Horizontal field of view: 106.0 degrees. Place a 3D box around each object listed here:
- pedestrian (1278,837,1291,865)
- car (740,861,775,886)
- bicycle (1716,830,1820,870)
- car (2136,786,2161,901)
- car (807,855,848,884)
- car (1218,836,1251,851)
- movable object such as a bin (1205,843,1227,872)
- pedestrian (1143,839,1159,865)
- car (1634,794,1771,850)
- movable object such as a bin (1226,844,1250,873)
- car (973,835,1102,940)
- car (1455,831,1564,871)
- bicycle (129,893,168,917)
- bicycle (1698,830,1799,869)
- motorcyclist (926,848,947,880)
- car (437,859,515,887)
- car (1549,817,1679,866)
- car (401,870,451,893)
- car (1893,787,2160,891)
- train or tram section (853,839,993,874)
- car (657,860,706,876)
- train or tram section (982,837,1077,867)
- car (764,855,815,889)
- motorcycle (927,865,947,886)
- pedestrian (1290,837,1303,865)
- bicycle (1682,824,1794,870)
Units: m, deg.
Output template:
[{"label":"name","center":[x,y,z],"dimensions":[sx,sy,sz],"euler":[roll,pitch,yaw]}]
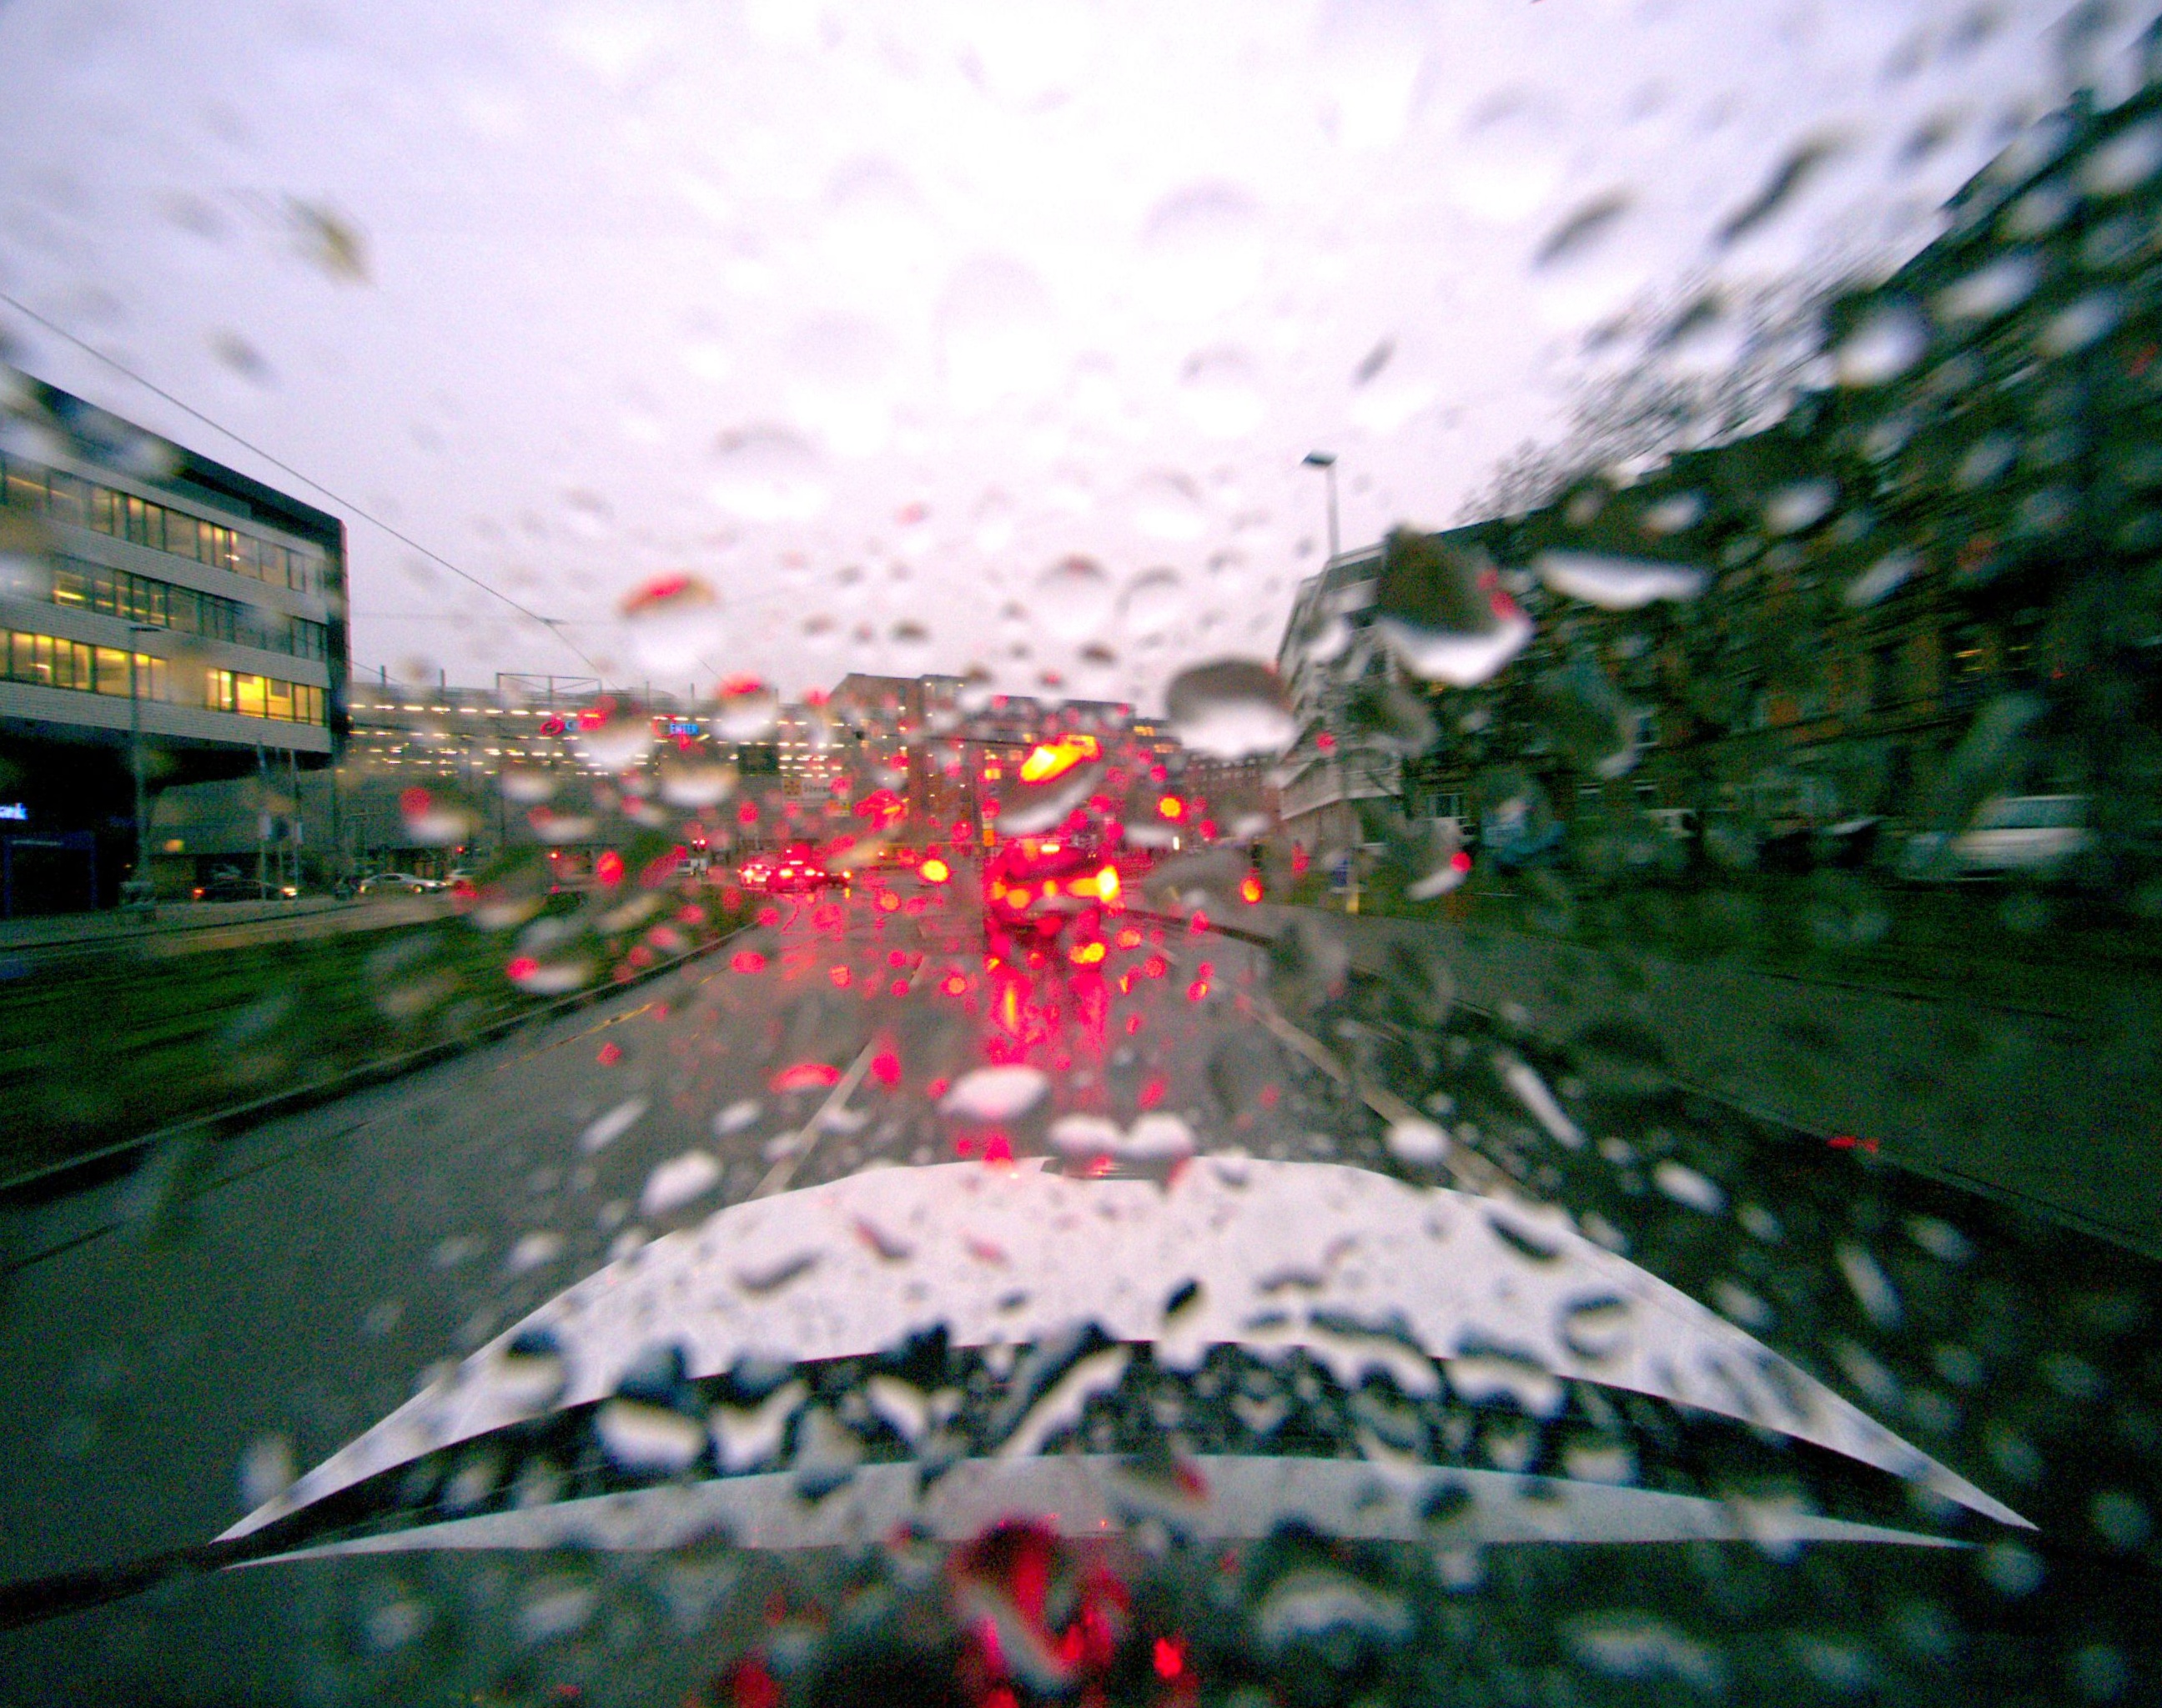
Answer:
[{"label":"pedestrian","center":[12.529,-0.178,50.068],"dimensions":[0.672,1.714,0.606],"euler":[0,-1,4]},{"label":"car","center":[-21.358,1.277,53.642],"dimensions":[1.894,1.486,3.967],"euler":[-2,0,-25]},{"label":"bicycle","center":[17.694,-0.106,21.002],"dimensions":[2.156,0.966,0.626],"euler":[-1,2,1]},{"label":"car","center":[14.554,-0.177,9.811],"dimensions":[3.441,1.351,1.649],"euler":[-2,0,-27]},{"label":"car","center":[-15.604,0.972,49.996],"dimensions":[1.646,1.697,3.635],"euler":[-1,-1,-30]},{"label":"car","center":[22.276,-1.482,118.346],"dimensions":[4.974,2.014,1.977],"euler":[0,-1,-40]},{"label":"movable object such as a bin","center":[7.047,0.168,42.391],"dimensions":[1.007,1.416,1.228],"euler":[-4,0,12]},{"label":"pedestrian","center":[5.300,-0.153,61.754],"dimensions":[1.167,1.924,0.897],"euler":[0,-1,-3]},{"label":"car","center":[25.417,-1.228,33.579],"dimensions":[1.984,2.013,4.993],"euler":[-4,0,4]},{"label":"movable object such as a bin","center":[8.130,0.228,42.179],"dimensions":[1.025,1.490,1.046],"euler":[0,-1,20]},{"label":"car","center":[-0.982,0.574,15.762],"dimensions":[1.737,1.738,4.226],"euler":[0,-1,-14]},{"label":"car","center":[21.718,-0.109,41.341],"dimensions":[4.687,1.919,2.013],"euler":[-1,-1,36]},{"label":"bicycle","center":[-48.455,2.644,42.324],"dimensions":[0.556,1.090,1.601],"euler":[-2,0,-18]},{"label":"bicycle","center":[17.719,-0.128,21.636],"dimensions":[2.156,0.966,0.626],"euler":[-1,2,1]},{"label":"motorcyclist","center":[-7.180,0.510,40.485],"dimensions":[0.867,1.534,1.105],"euler":[-2,0,-7]},{"label":"car","center":[-44.633,1.360,60.232],"dimensions":[4.382,2.014,1.981],"euler":[0,-1,-30]},{"label":"car","center":[16.529,-0.383,25.242],"dimensions":[3.868,1.337,1.683],"euler":[-3,0,-28]},{"label":"car","center":[-44.914,1.871,55.941],"dimensions":[1.831,1.435,4.613],"euler":[0,-1,-28]},{"label":"car","center":[14.624,-0.229,12.613],"dimensions":[3.468,1.443,1.603],"euler":[-1,0,-21]},{"label":"train or tram section","center":[-17.601,0.165,92.772],"dimensions":[16.749,3.260,2.309],"euler":[-3,0,-41]},{"label":"car","center":[-47.510,1.644,96.851],"dimensions":[5.112,1.962,1.872],"euler":[0,-1,-32]},{"label":"train or tram section","center":[-6.252,-0.292,102.278],"dimensions":[13.070,3.260,2.309],"euler":[-3,0,-41]},{"label":"car","center":[-15.019,0.932,41.891],"dimensions":[1.764,1.574,3.961],"euler":[-2,0,-30]},{"label":"motorcycle","center":[-7.158,1.052,40.457],"dimensions":[0.852,0.971,1.577],"euler":[-2,0,-8]},{"label":"pedestrian","center":[13.232,-0.166,50.017],"dimensions":[0.672,1.714,0.630],"euler":[0,-1,4]},{"label":"bicycle","center":[15.962,-0.169,19.812],"dimensions":[2.156,0.966,0.626],"euler":[-3,0,1]}]
